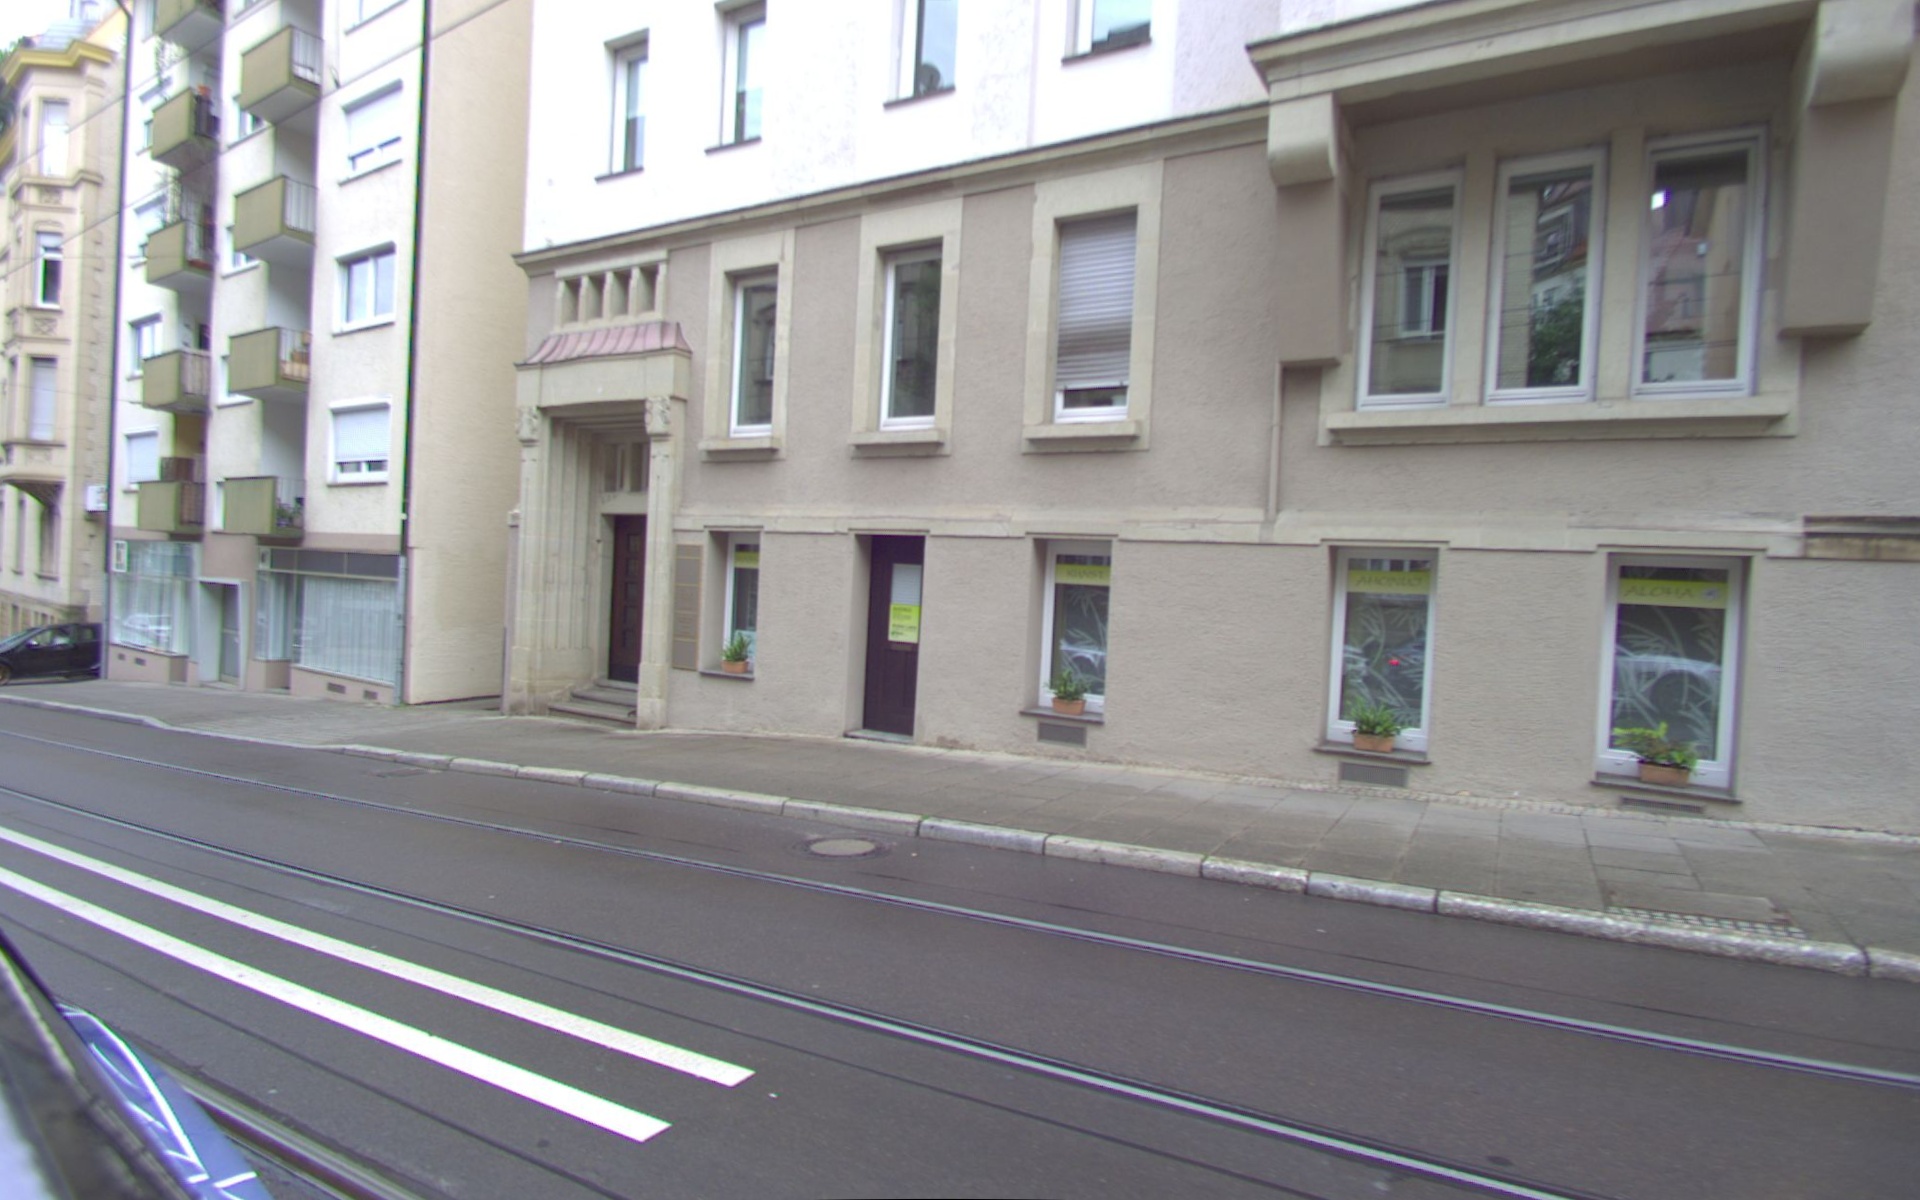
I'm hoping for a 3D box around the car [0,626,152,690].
[{"bbox_3d":[-22.554,1.395,24.830,1.737,1.465,3.952,-1,-1,35],"label":"car"}]
